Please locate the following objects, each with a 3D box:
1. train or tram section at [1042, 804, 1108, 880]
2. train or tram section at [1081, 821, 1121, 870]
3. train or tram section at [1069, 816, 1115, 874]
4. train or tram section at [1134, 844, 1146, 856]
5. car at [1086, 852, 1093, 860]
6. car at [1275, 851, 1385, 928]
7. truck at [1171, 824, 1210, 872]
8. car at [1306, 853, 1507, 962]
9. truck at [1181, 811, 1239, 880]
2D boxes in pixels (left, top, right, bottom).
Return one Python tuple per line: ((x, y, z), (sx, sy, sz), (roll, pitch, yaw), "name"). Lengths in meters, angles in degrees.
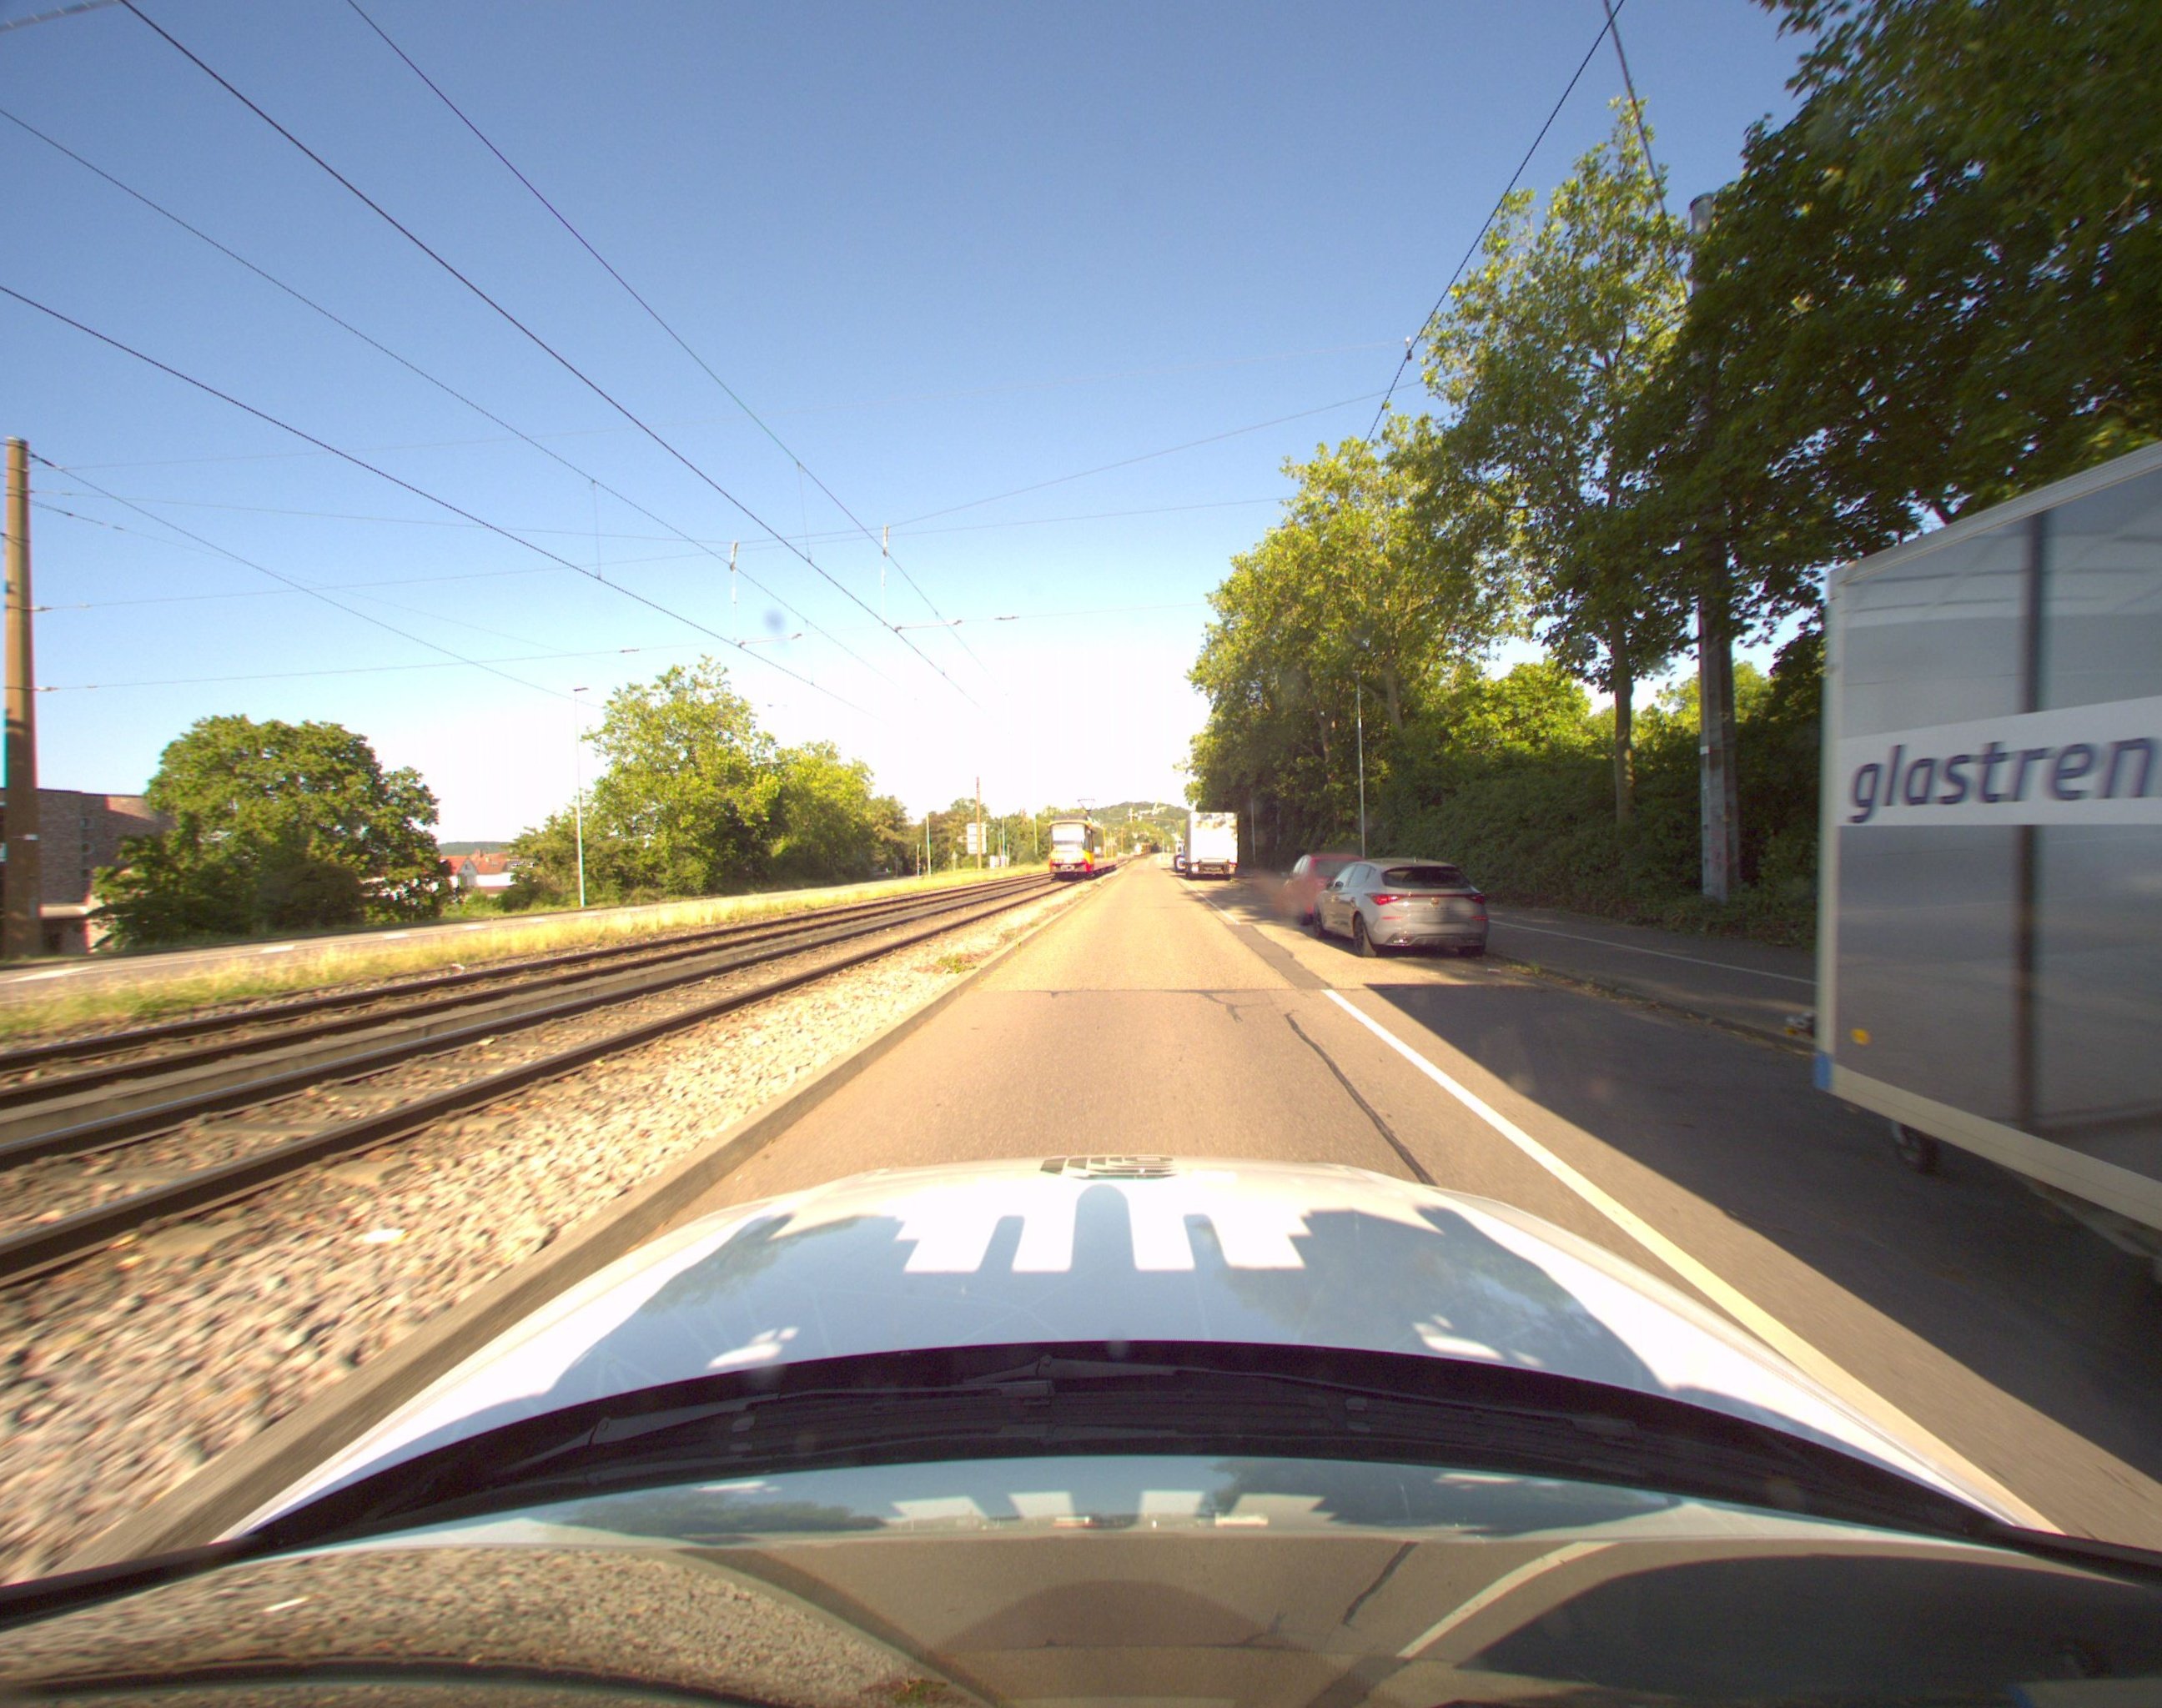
((-0.119, -0.645, 51.788), (2.708, 4.091, 13.634), (-2, 0, 5), "train or tram section")
((1.977, -0.717, 74.890), (2.706, 4.089, 12.830), (-2, 0, 5), "train or tram section")
((0.961, -0.638, 63.543), (2.682, 4.089, 9.924), (-2, 0, 5), "train or tram section")
((17.746, -1.172, 242.867), (2.629, 3.567, 10.857), (-2, 0, 8), "train or tram section")
((2.155, 0.469, 199.185), (1.717, 2.014, 4.001), (0, -1, 1), "car")
((5.530, 0.730, 18.508), (1.632, 1.537, 3.645), (1, 0, 5), "car")
((9.190, -0.480, 69.138), (2.704, 3.783, 9.773), (0, 0, 4), "truck")
((4.969, 0.728, 13.090), (1.801, 1.457, 4.169), (0, 0, 3), "car")
((7.717, -0.477, 49.944), (2.729, 3.783, 10.101), (0, 0, 4), "truck")
